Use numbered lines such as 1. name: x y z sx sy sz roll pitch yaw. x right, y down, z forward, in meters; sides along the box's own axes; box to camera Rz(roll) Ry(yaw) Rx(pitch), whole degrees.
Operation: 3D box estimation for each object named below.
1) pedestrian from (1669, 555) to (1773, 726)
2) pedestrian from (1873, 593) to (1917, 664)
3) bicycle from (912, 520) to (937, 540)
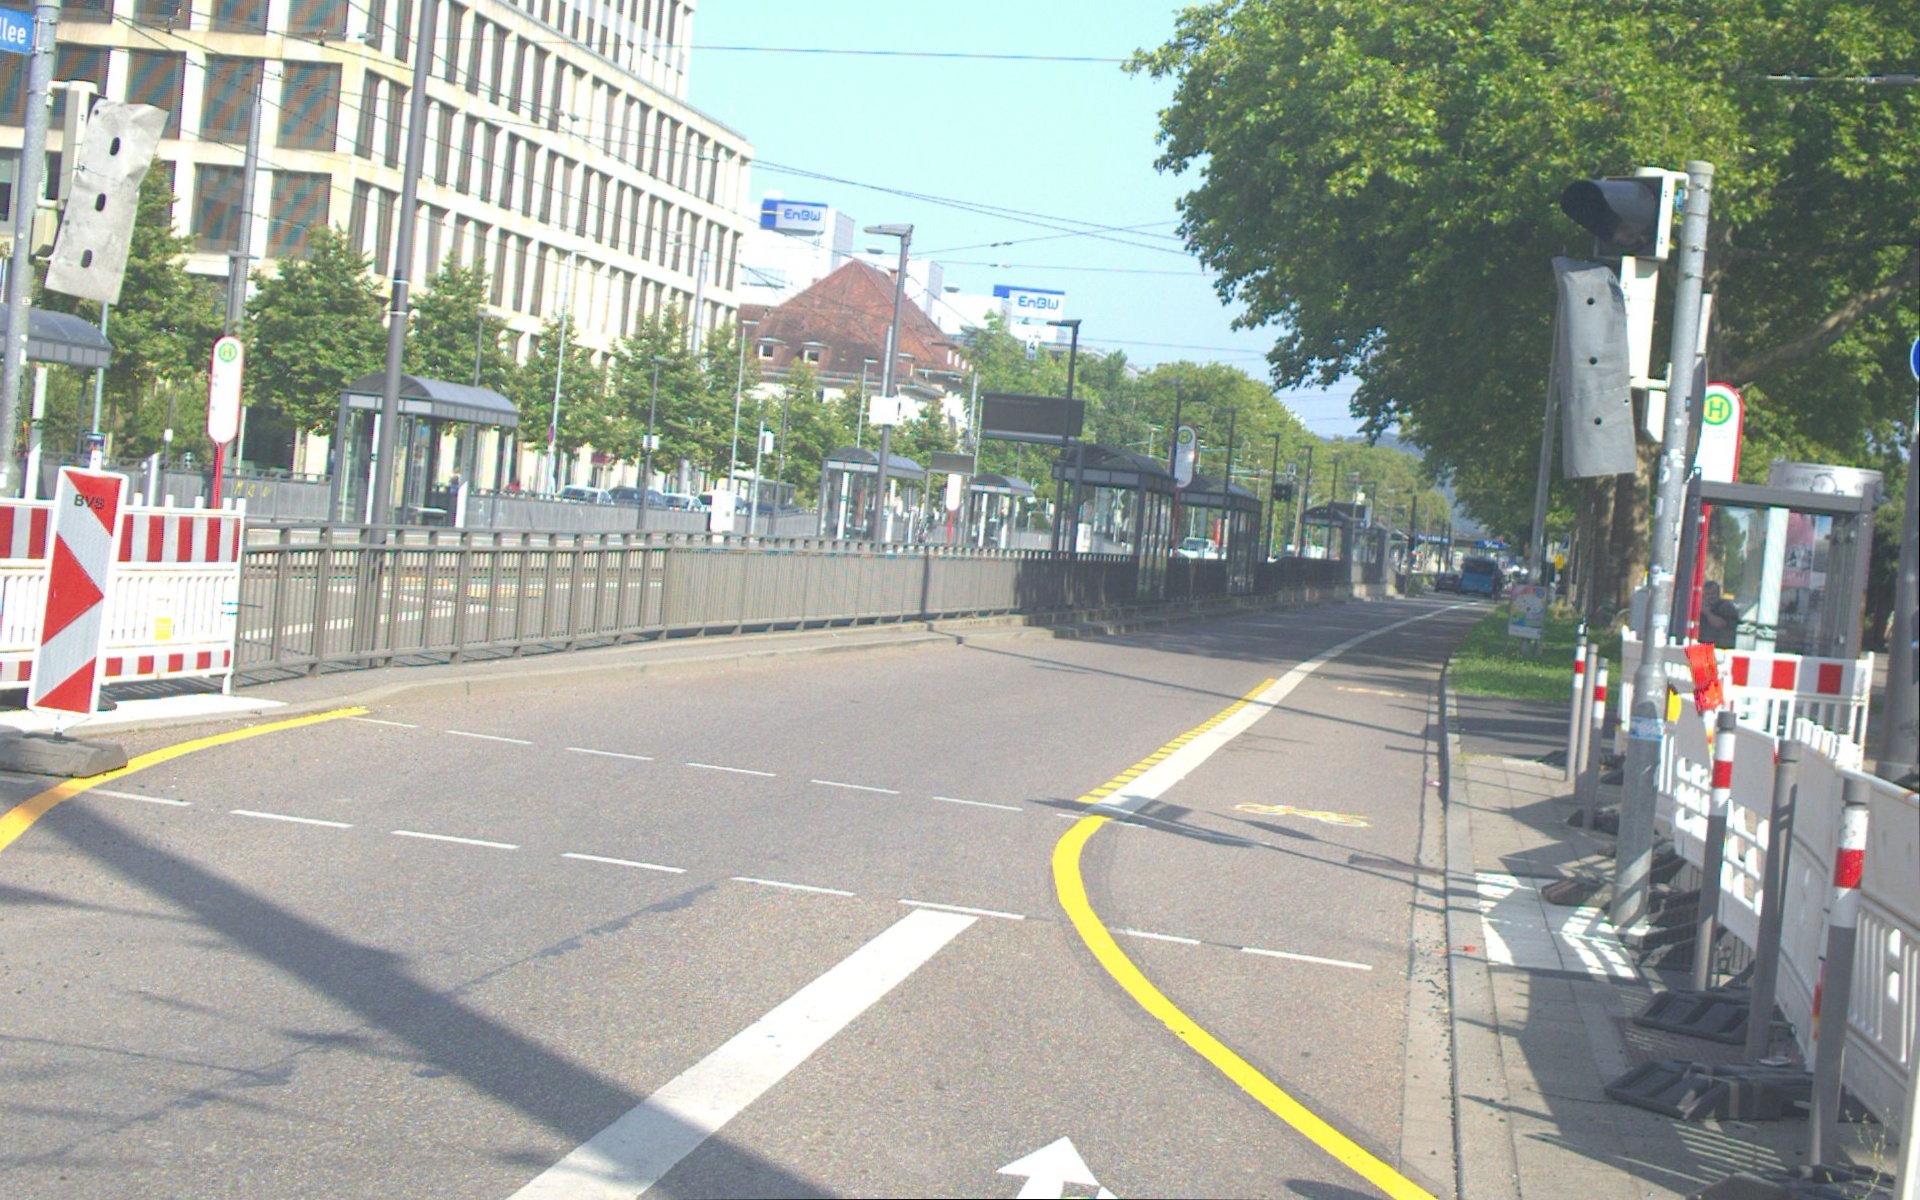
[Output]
1. pedestrian: 7.881 0.415 35.626 0.687 1.691 0.649 5 1 -12
2. pedestrian: 22.084 0.664 81.184 0.806 1.598 0.947 4 1 10
3. bicycle: -1.315 -2.564 126.859 0.477 0.660 1.612 6 1 14
